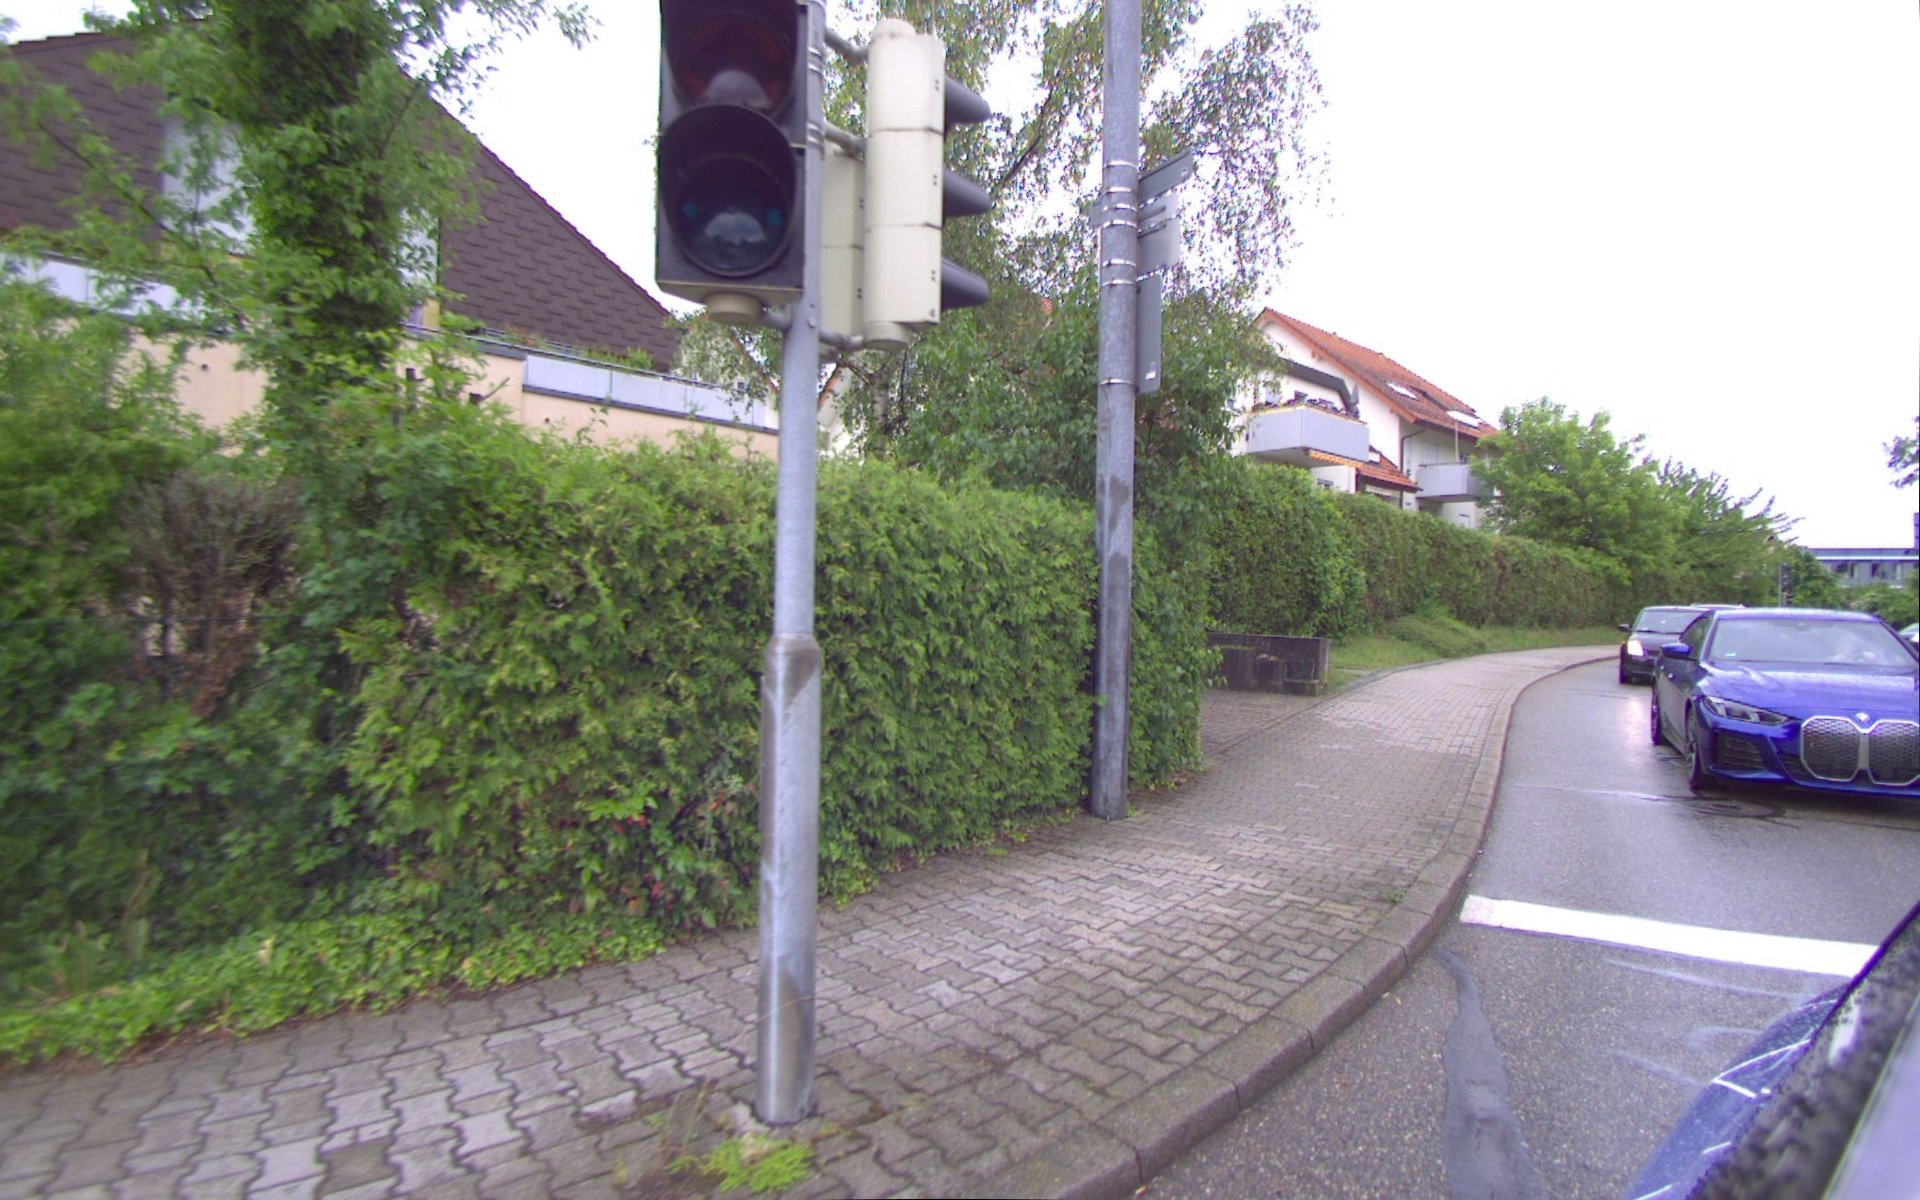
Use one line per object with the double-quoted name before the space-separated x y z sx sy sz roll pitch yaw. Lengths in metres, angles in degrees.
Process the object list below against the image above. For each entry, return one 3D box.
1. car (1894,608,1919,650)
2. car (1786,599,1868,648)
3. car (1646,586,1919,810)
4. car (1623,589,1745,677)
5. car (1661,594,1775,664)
"car" 42.155 1.267 43.827 3.926 1.749 1.867 3 -4 -38
"car" 33.392 0.945 38.941 3.930 1.749 1.865 3 -5 -42
"car" 7.376 0.646 8.843 1.898 1.515 4.304 -1 0 30
"car" 14.230 0.703 19.836 1.737 1.539 3.944 -2 -4 37
"car" 21.071 0.876 28.058 1.962 1.773 4.237 -3 -5 44
